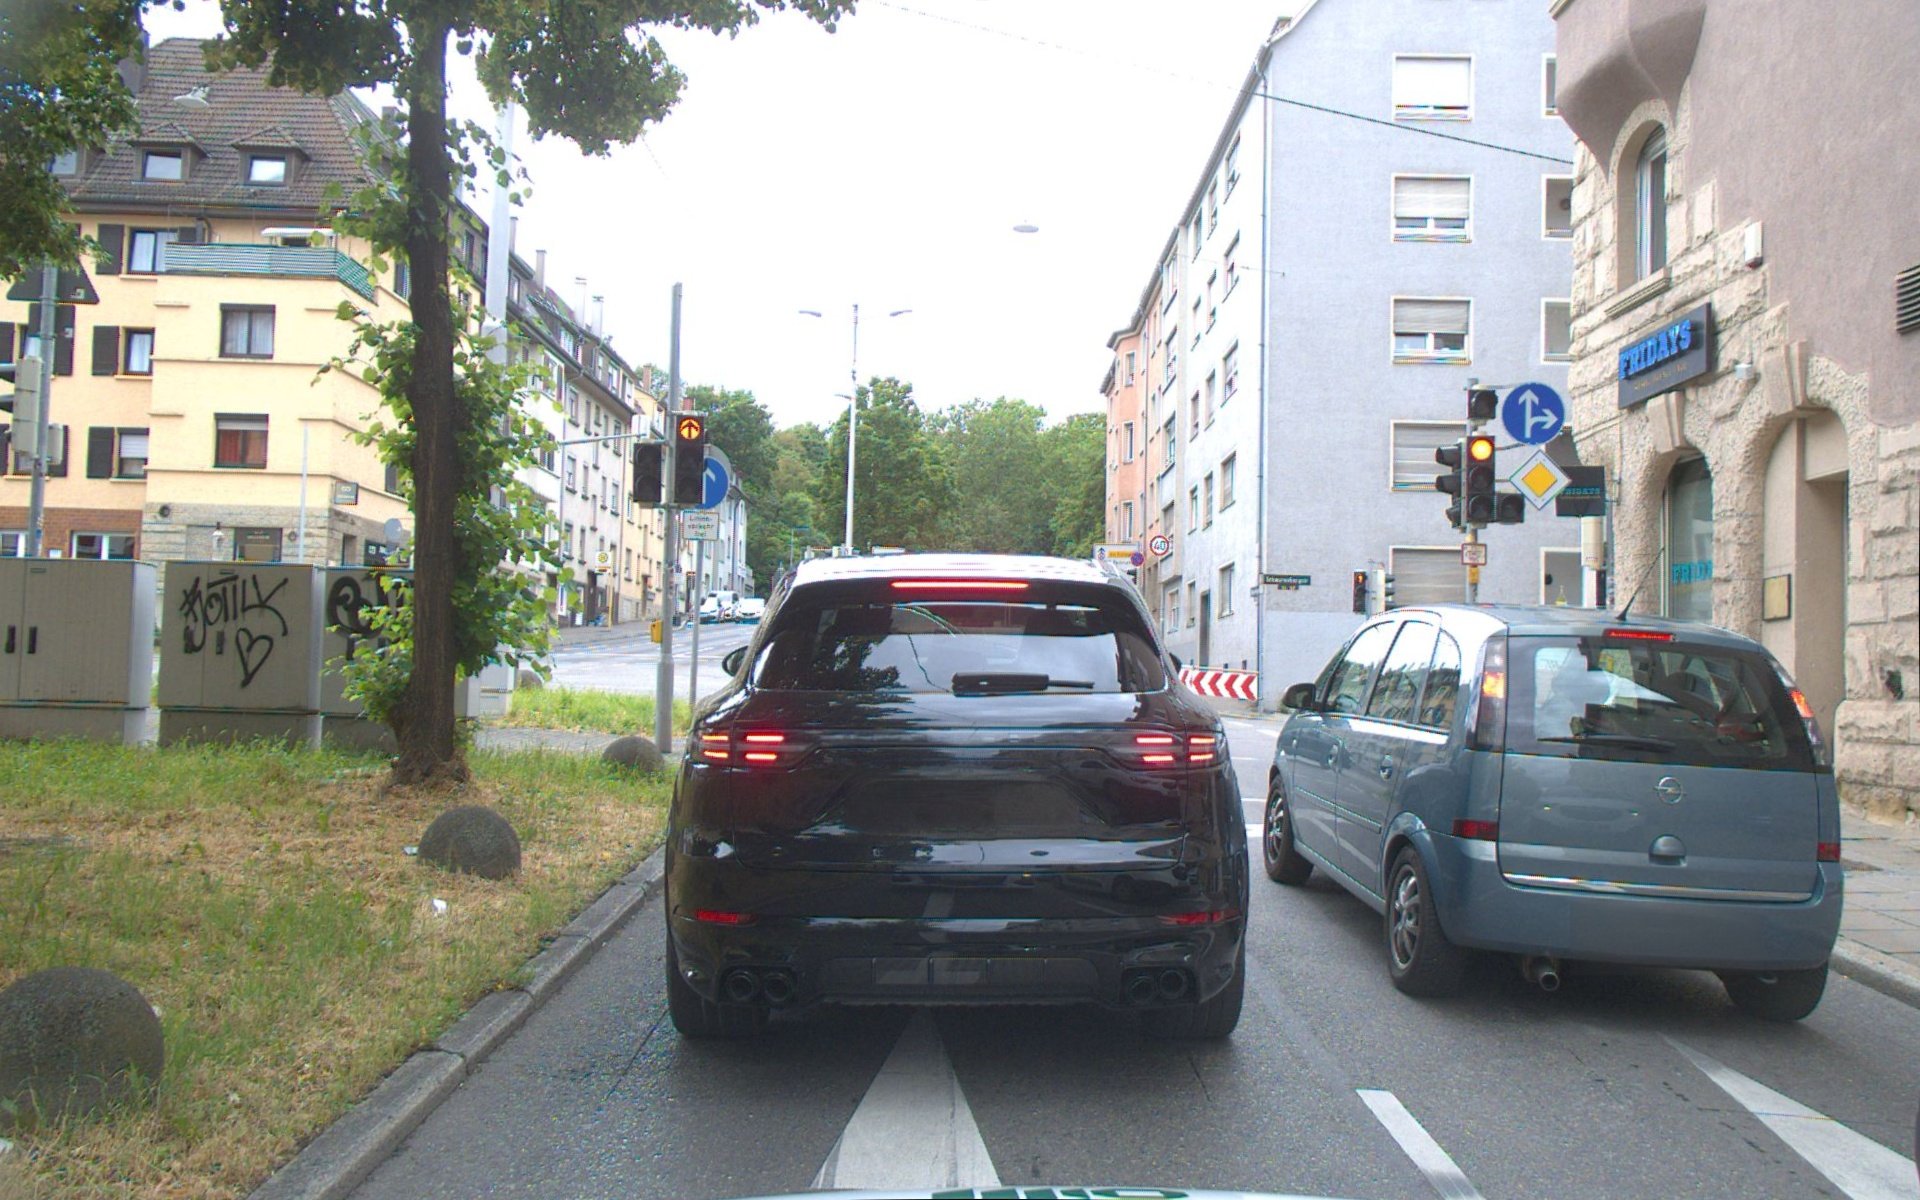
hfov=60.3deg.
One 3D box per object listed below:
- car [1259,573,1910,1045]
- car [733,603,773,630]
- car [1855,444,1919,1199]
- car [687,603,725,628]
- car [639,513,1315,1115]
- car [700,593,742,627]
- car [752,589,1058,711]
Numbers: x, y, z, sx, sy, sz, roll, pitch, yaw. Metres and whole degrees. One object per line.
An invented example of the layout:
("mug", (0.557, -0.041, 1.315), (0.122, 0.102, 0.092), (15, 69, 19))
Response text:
("car", (2.631, 0.775, 7.908), (1.596, 1.625, 3.668), (4, 0, -1))
("car", (-12.400, 0.977, 99.261), (1.806, 1.512, 3.898), (1, 0, 2))
("car", (2.895, 0.659, 1.036), (1.936, 1.806, 4.674), (4, 0, -2))
("car", (-15.106, 0.905, 98.557), (1.703, 1.411, 3.813), (1, 0, 0))
("car", (0.025, 0.617, 6.704), (1.916, 1.704, 3.999), (0, 0, -1))
("car", (-15.054, 0.606, 104.321), (1.975, 2.081, 4.666), (1, 0, 0))
("car", (-0.726, 0.700, 23.703), (4.147, 1.547, 1.667), (2, -1, 6))
